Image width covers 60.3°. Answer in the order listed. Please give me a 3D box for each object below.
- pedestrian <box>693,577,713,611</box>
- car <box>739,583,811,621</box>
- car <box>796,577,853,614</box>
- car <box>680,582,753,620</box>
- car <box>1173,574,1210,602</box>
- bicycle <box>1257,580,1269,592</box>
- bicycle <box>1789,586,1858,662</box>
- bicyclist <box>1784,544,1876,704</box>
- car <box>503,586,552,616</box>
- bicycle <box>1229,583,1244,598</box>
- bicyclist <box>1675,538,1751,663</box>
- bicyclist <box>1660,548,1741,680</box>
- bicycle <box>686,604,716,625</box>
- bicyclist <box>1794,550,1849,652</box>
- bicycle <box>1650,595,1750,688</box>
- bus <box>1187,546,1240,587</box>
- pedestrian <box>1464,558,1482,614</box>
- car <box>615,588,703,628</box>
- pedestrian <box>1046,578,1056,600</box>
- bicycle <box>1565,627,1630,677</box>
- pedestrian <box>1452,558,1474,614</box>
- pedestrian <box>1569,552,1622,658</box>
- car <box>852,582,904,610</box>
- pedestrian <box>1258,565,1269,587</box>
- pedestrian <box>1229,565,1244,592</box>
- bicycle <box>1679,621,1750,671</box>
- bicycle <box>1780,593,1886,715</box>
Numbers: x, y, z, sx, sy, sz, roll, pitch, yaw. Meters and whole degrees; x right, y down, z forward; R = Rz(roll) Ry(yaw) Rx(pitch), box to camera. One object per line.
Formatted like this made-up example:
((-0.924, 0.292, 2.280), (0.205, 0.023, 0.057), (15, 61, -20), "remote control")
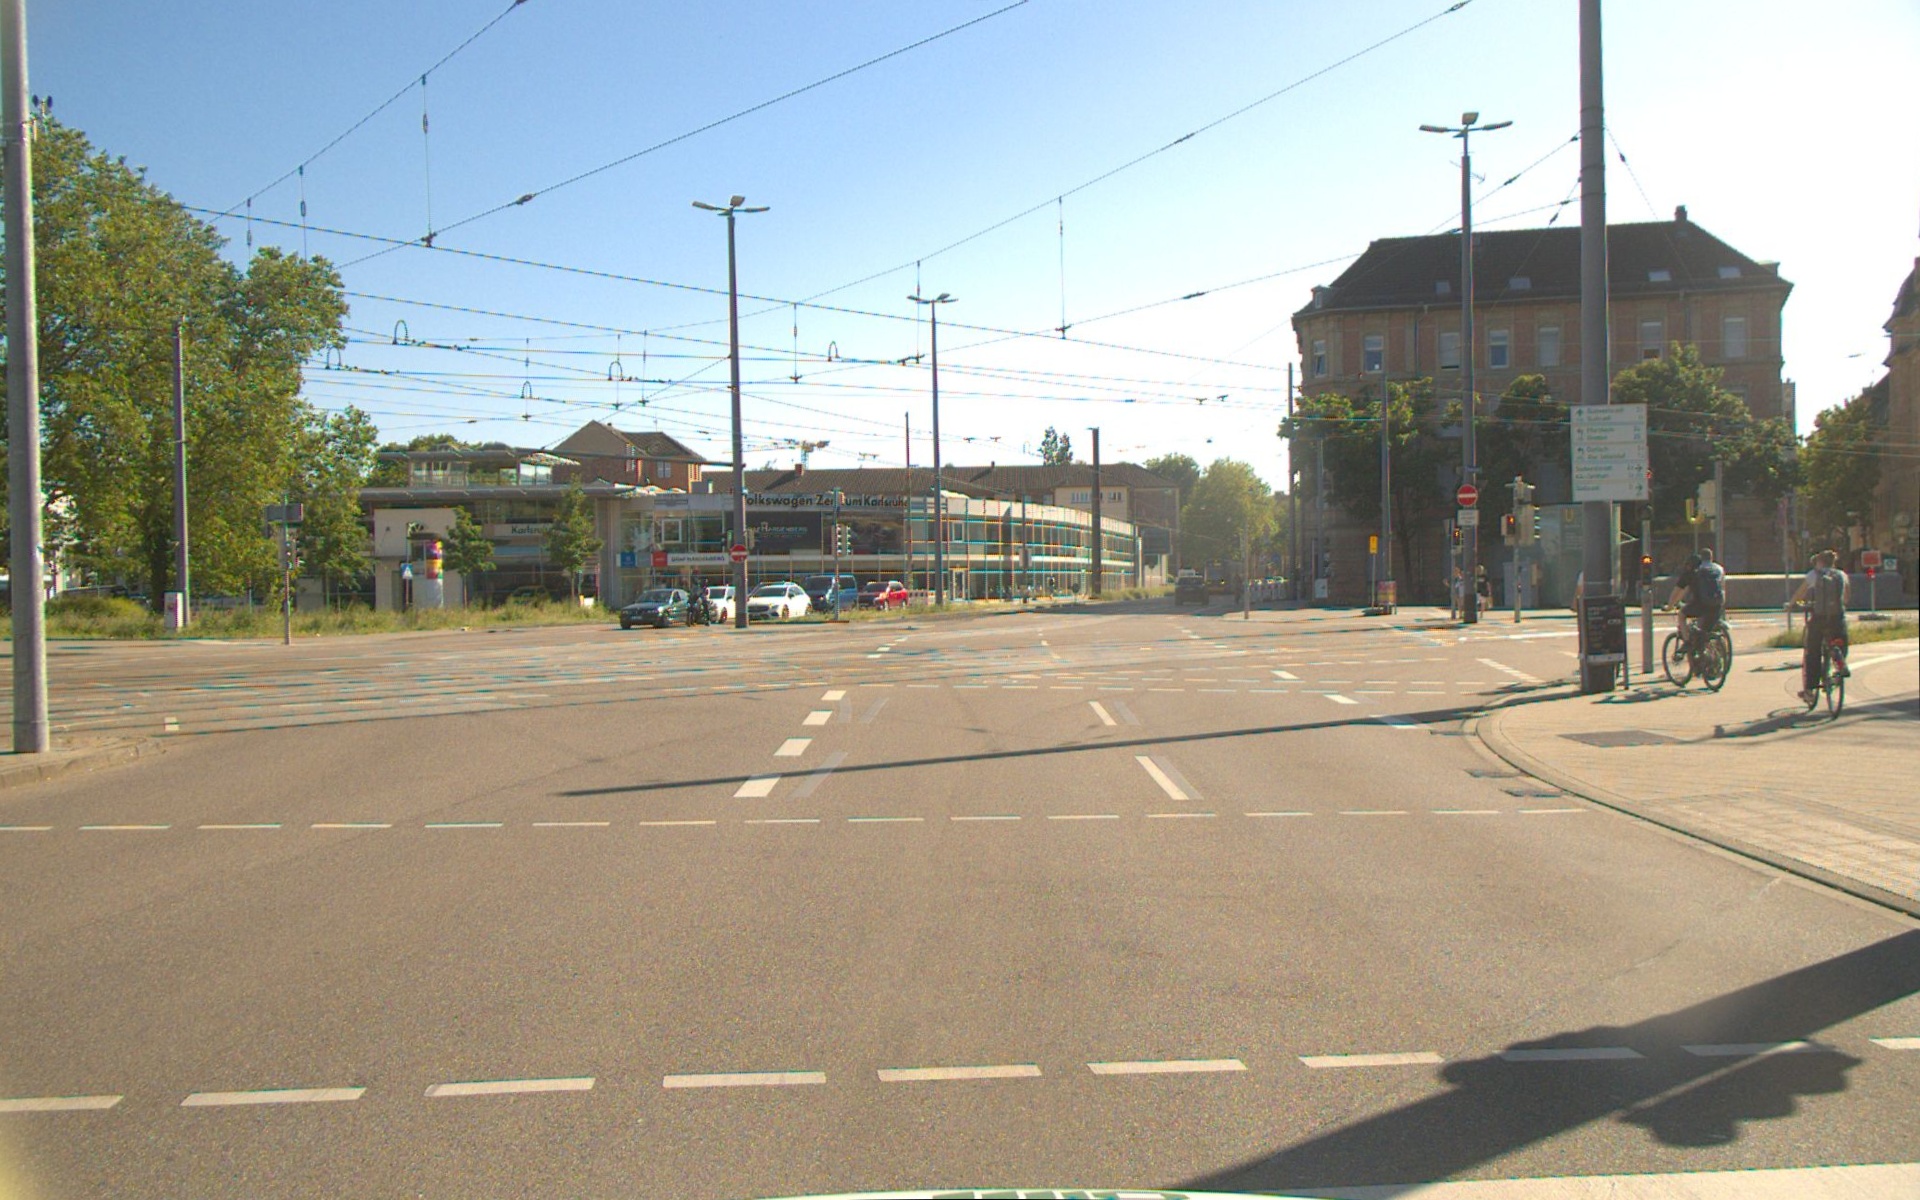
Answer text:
((-9.370, -0.216, 60.331), (0.413, 1.225, 0.750), (-1, 0, 16), "pedestrian")
((-7.233, 0.071, 64.834), (1.591, 1.406, 3.741), (-1, 1, 14), "car")
((-6.421, -0.243, 78.864), (1.591, 1.722, 3.689), (-1, 1, 14), "car")
((-9.786, 0.035, 66.678), (1.591, 1.448, 3.689), (-1, 1, 14), "car")
((13.380, -0.710, 95.546), (1.663, 1.529, 4.268), (-1, 1, 14), "car")
((21.990, -1.019, 119.894), (0.727, 0.885, 1.933), (-1, 0, 14), "bicycle")
((13.738, 0.366, 26.353), (0.559, 1.145, 1.742), (-1, 0, 14), "bicycle")
((9.176, 0.248, 17.470), (0.671, 1.626, 0.977), (-2, 0, 19), "bicyclist")
((-25.970, 0.037, 99.481), (1.926, 1.735, 4.083), (-1, 1, -1), "car")
((16.720, -0.552, 99.878), (0.727, 0.885, 1.933), (-1, 0, 14), "bicycle")
((11.231, 0.007, 24.700), (0.731, 1.809, 0.925), (-2, 0, 6), "bicyclist")
((9.744, 0.179, 21.807), (0.612, 1.666, 0.996), (-3, 0, 6), "bicyclist")
((-9.404, 0.530, 60.184), (0.413, 0.730, 1.636), (-1, 1, 16), "bicycle")
((13.760, 0.005, 26.431), (0.559, 1.596, 0.947), (-1, 0, 14), "bicyclist")
((9.776, 0.521, 21.923), (0.612, 1.133, 1.852), (-3, 0, 6), "bicycle")
((26.724, -3.358, 173.402), (3.755, 3.670, 24.886), (1, 0, 13), "bus")
((18.906, -0.511, 60.945), (0.453, 2.049, 0.449), (-1, 1, -18), "pedestrian")
((-11.009, 0.266, 60.705), (1.667, 1.378, 3.703), (-1, 1, 16), "car")
((6.899, -0.837, 125.257), (0.531, 1.718, 0.630), (-1, 0, 20), "pedestrian")
((9.754, 0.788, 25.344), (0.525, 0.667, 1.727), (-4, 0, 8), "bicycle")
((18.355, -0.517, 60.344), (0.564, 2.049, 0.449), (-1, 1, -19), "pedestrian")
((9.658, 0.072, 25.155), (0.536, 1.590, 0.859), (-1, 0, 7), "pedestrian")
((-4.242, -0.207, 86.023), (1.591, 1.388, 3.688), (-1, 1, 16), "car")
((22.021, -1.754, 120.056), (0.730, 1.549, 0.719), (-1, 0, 14), "pedestrian")
((16.770, -1.303, 100.253), (0.785, 1.660, 0.718), (-1, -1, 14), "pedestrian")
((11.285, 0.682, 24.783), (0.525, 0.667, 1.469), (-2, 1, 6), "bicycle")
((9.157, 0.543, 17.410), (0.671, 1.184, 1.884), (-2, 0, 19), "bicycle")
